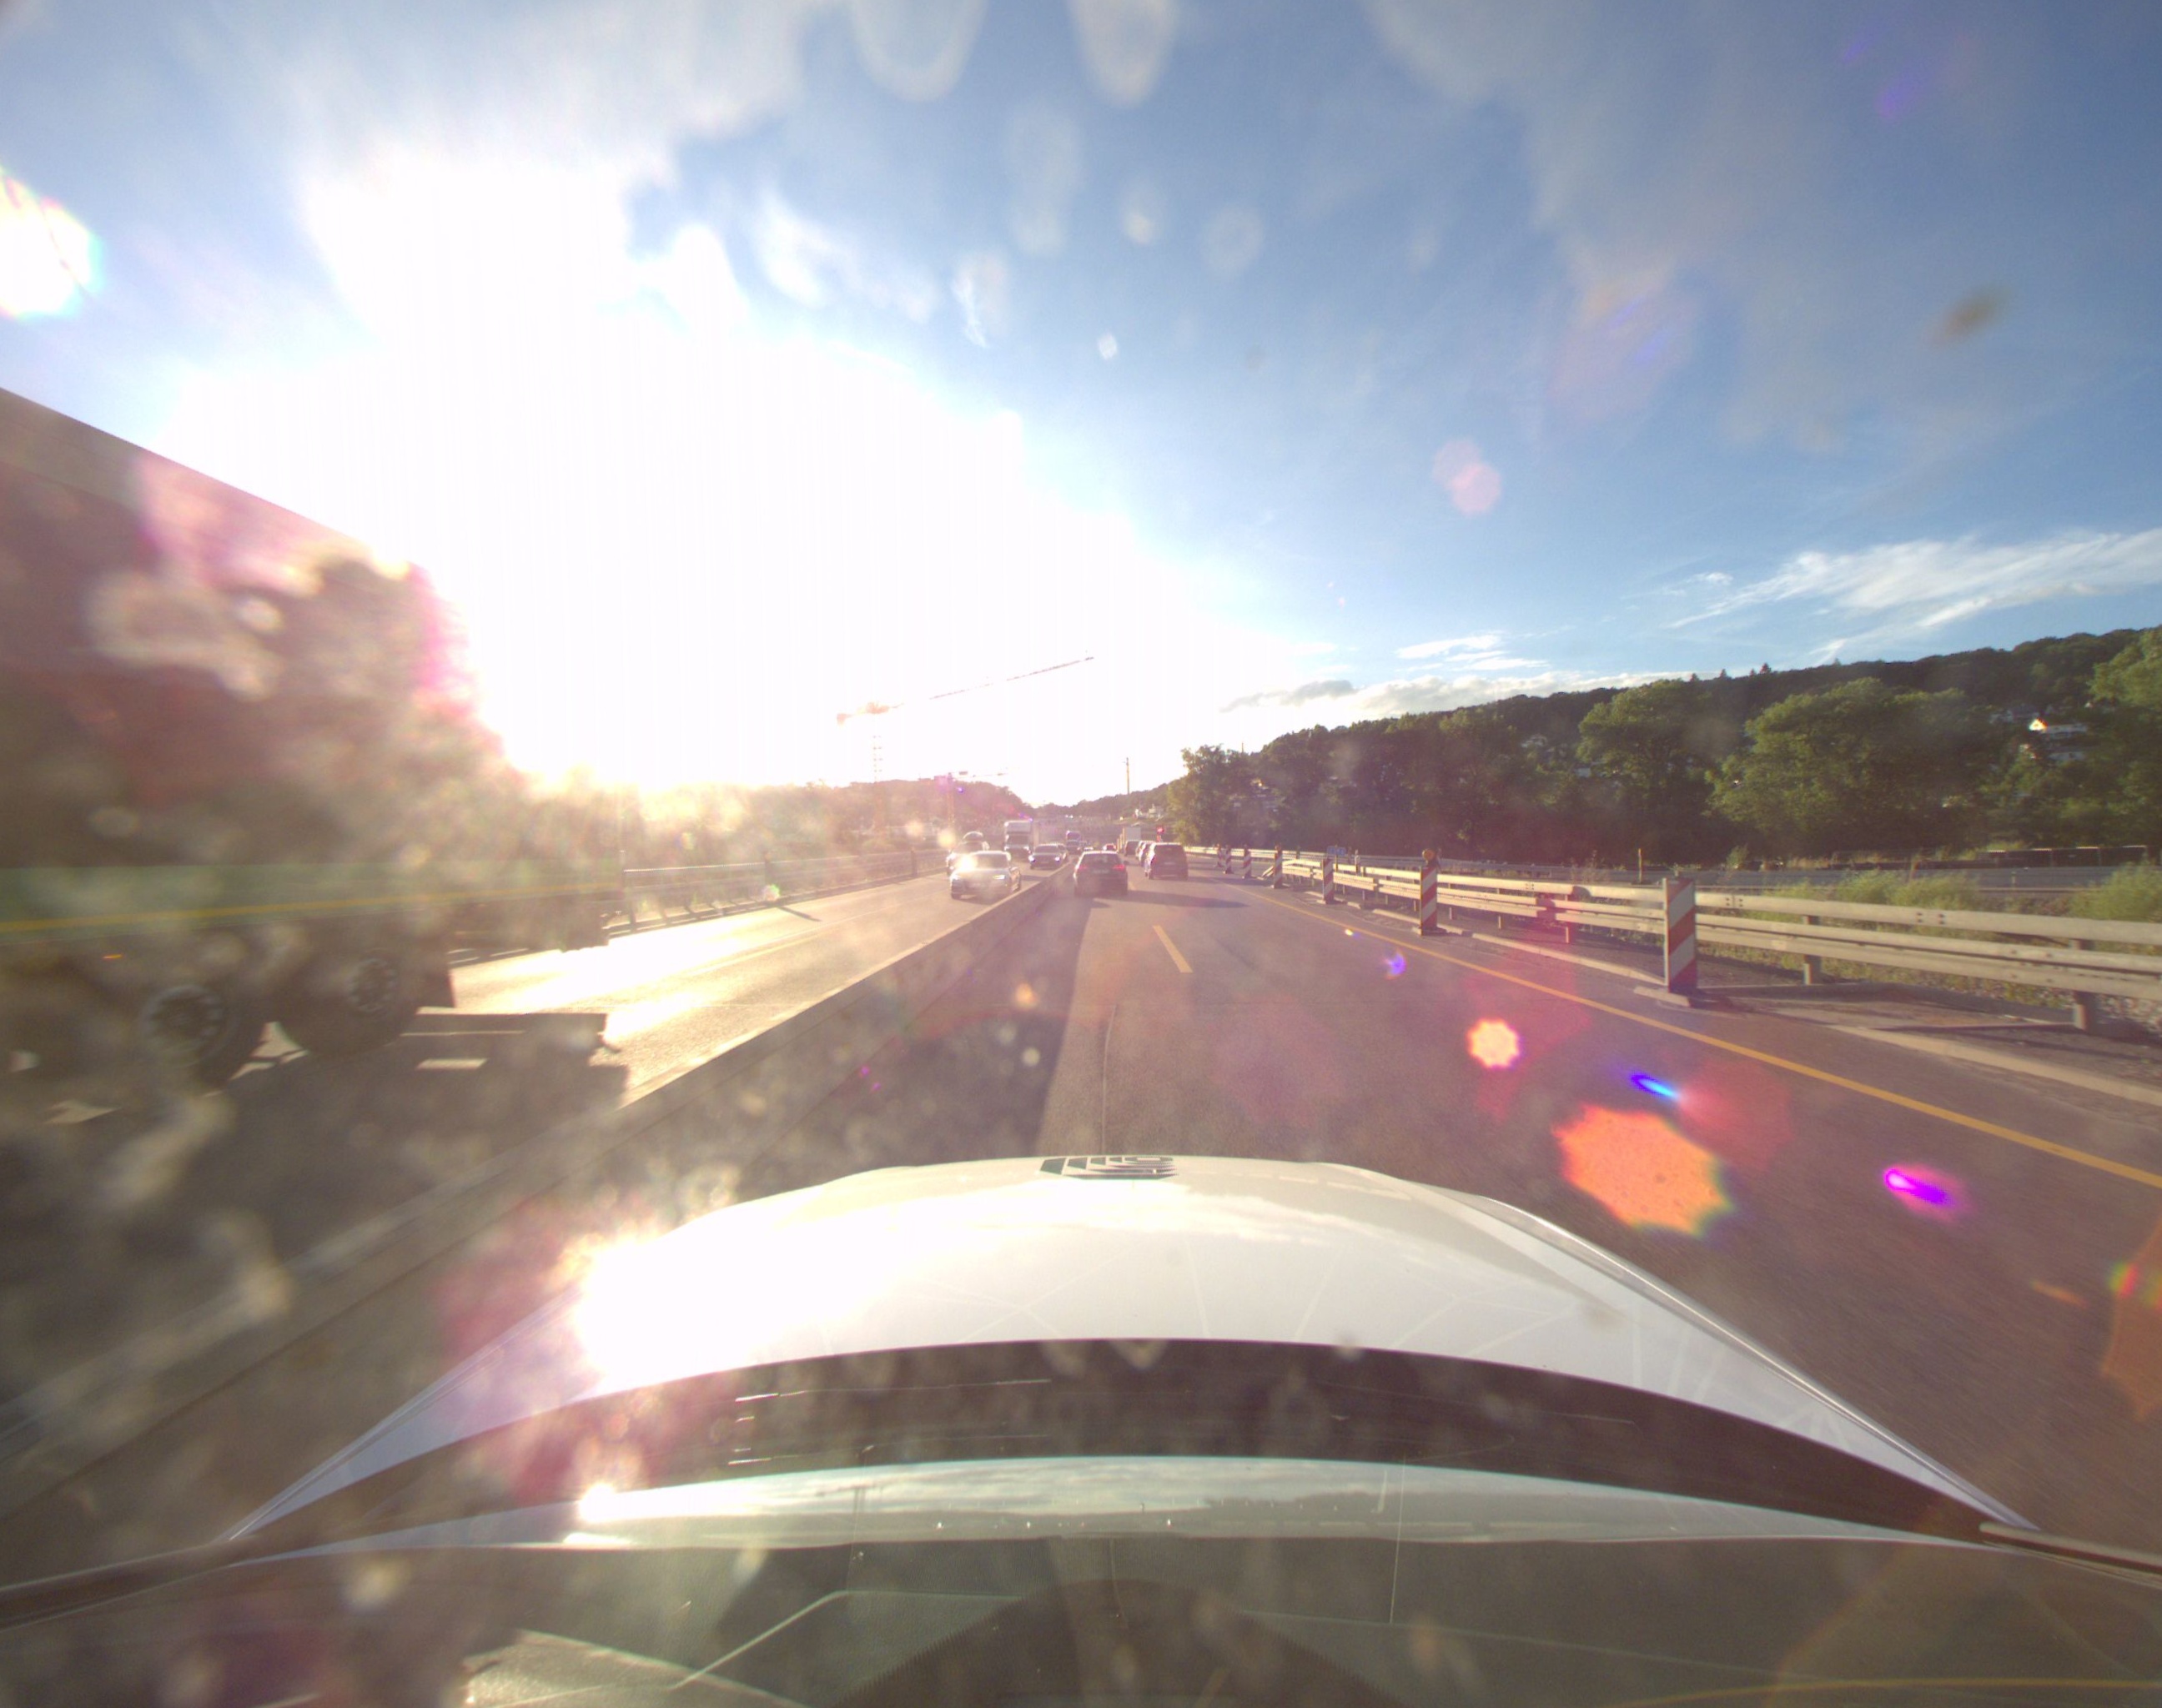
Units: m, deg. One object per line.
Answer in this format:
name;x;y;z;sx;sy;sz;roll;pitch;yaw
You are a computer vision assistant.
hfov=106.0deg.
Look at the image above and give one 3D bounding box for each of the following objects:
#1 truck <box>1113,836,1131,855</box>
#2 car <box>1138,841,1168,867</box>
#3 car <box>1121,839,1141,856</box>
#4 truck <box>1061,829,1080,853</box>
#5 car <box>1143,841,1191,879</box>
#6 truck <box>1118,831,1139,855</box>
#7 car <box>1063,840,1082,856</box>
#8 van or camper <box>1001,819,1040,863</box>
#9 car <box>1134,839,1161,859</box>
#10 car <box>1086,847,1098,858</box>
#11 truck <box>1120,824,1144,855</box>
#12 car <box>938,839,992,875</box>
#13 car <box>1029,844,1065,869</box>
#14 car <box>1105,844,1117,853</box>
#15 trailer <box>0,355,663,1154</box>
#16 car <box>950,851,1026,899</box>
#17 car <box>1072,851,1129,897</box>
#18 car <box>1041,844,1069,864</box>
truck;10.146;-2.189;204.736;3.878;4.498;13.846;0;1;0
car;4.689;-0.020;53.171;1.767;1.586;4.137;0;0;2
car;5.020;-0.633;81.917;1.808;1.632;4.412;0;0;1
truck;-1.725;-2.181;140.332;2.803;4.048;5.677;-1;0;3
car;3.901;0.224;37.727;1.806;1.615;4.527;-2;1;1
truck;9.296;-2.246;160.543;3.876;4.498;15.274;0;1;2
car;-0.863;-0.614;83.588;1.821;1.640;4.530;-1;1;1
van or camper;-5.009;-1.097;68.554;2.448;3.498;7.416;-1;1;2
car;5.405;-0.381;66.613;1.869;1.599;4.966;-1;0;1
car;1.660;-0.211;120.367;1.761;1.535;4.000;0;0;0
truck;7.816;-2.339;126.100;3.372;4.497;15.278;0;2;2
car;-5.973;0.143;42.452;1.986;1.764;4.443;0;0;2
car;-2.044;0.160;50.133;1.808;1.463;4.709;0;0;3
car;4.530;-0.817;123.937;1.856;1.420;4.002;0;0;2
trailer;-6.843;-0.503;3.539;2.764;4.031;13.684;0;0;1
car;-2.923;0.638;26.336;1.854;1.432;4.156;0;0;1
car;0.612;0.607;27.323;1.764;1.390;4.000;0;1;0
car;-1.950;-0.036;62.089;1.809;1.463;4.707;-1;1;1
